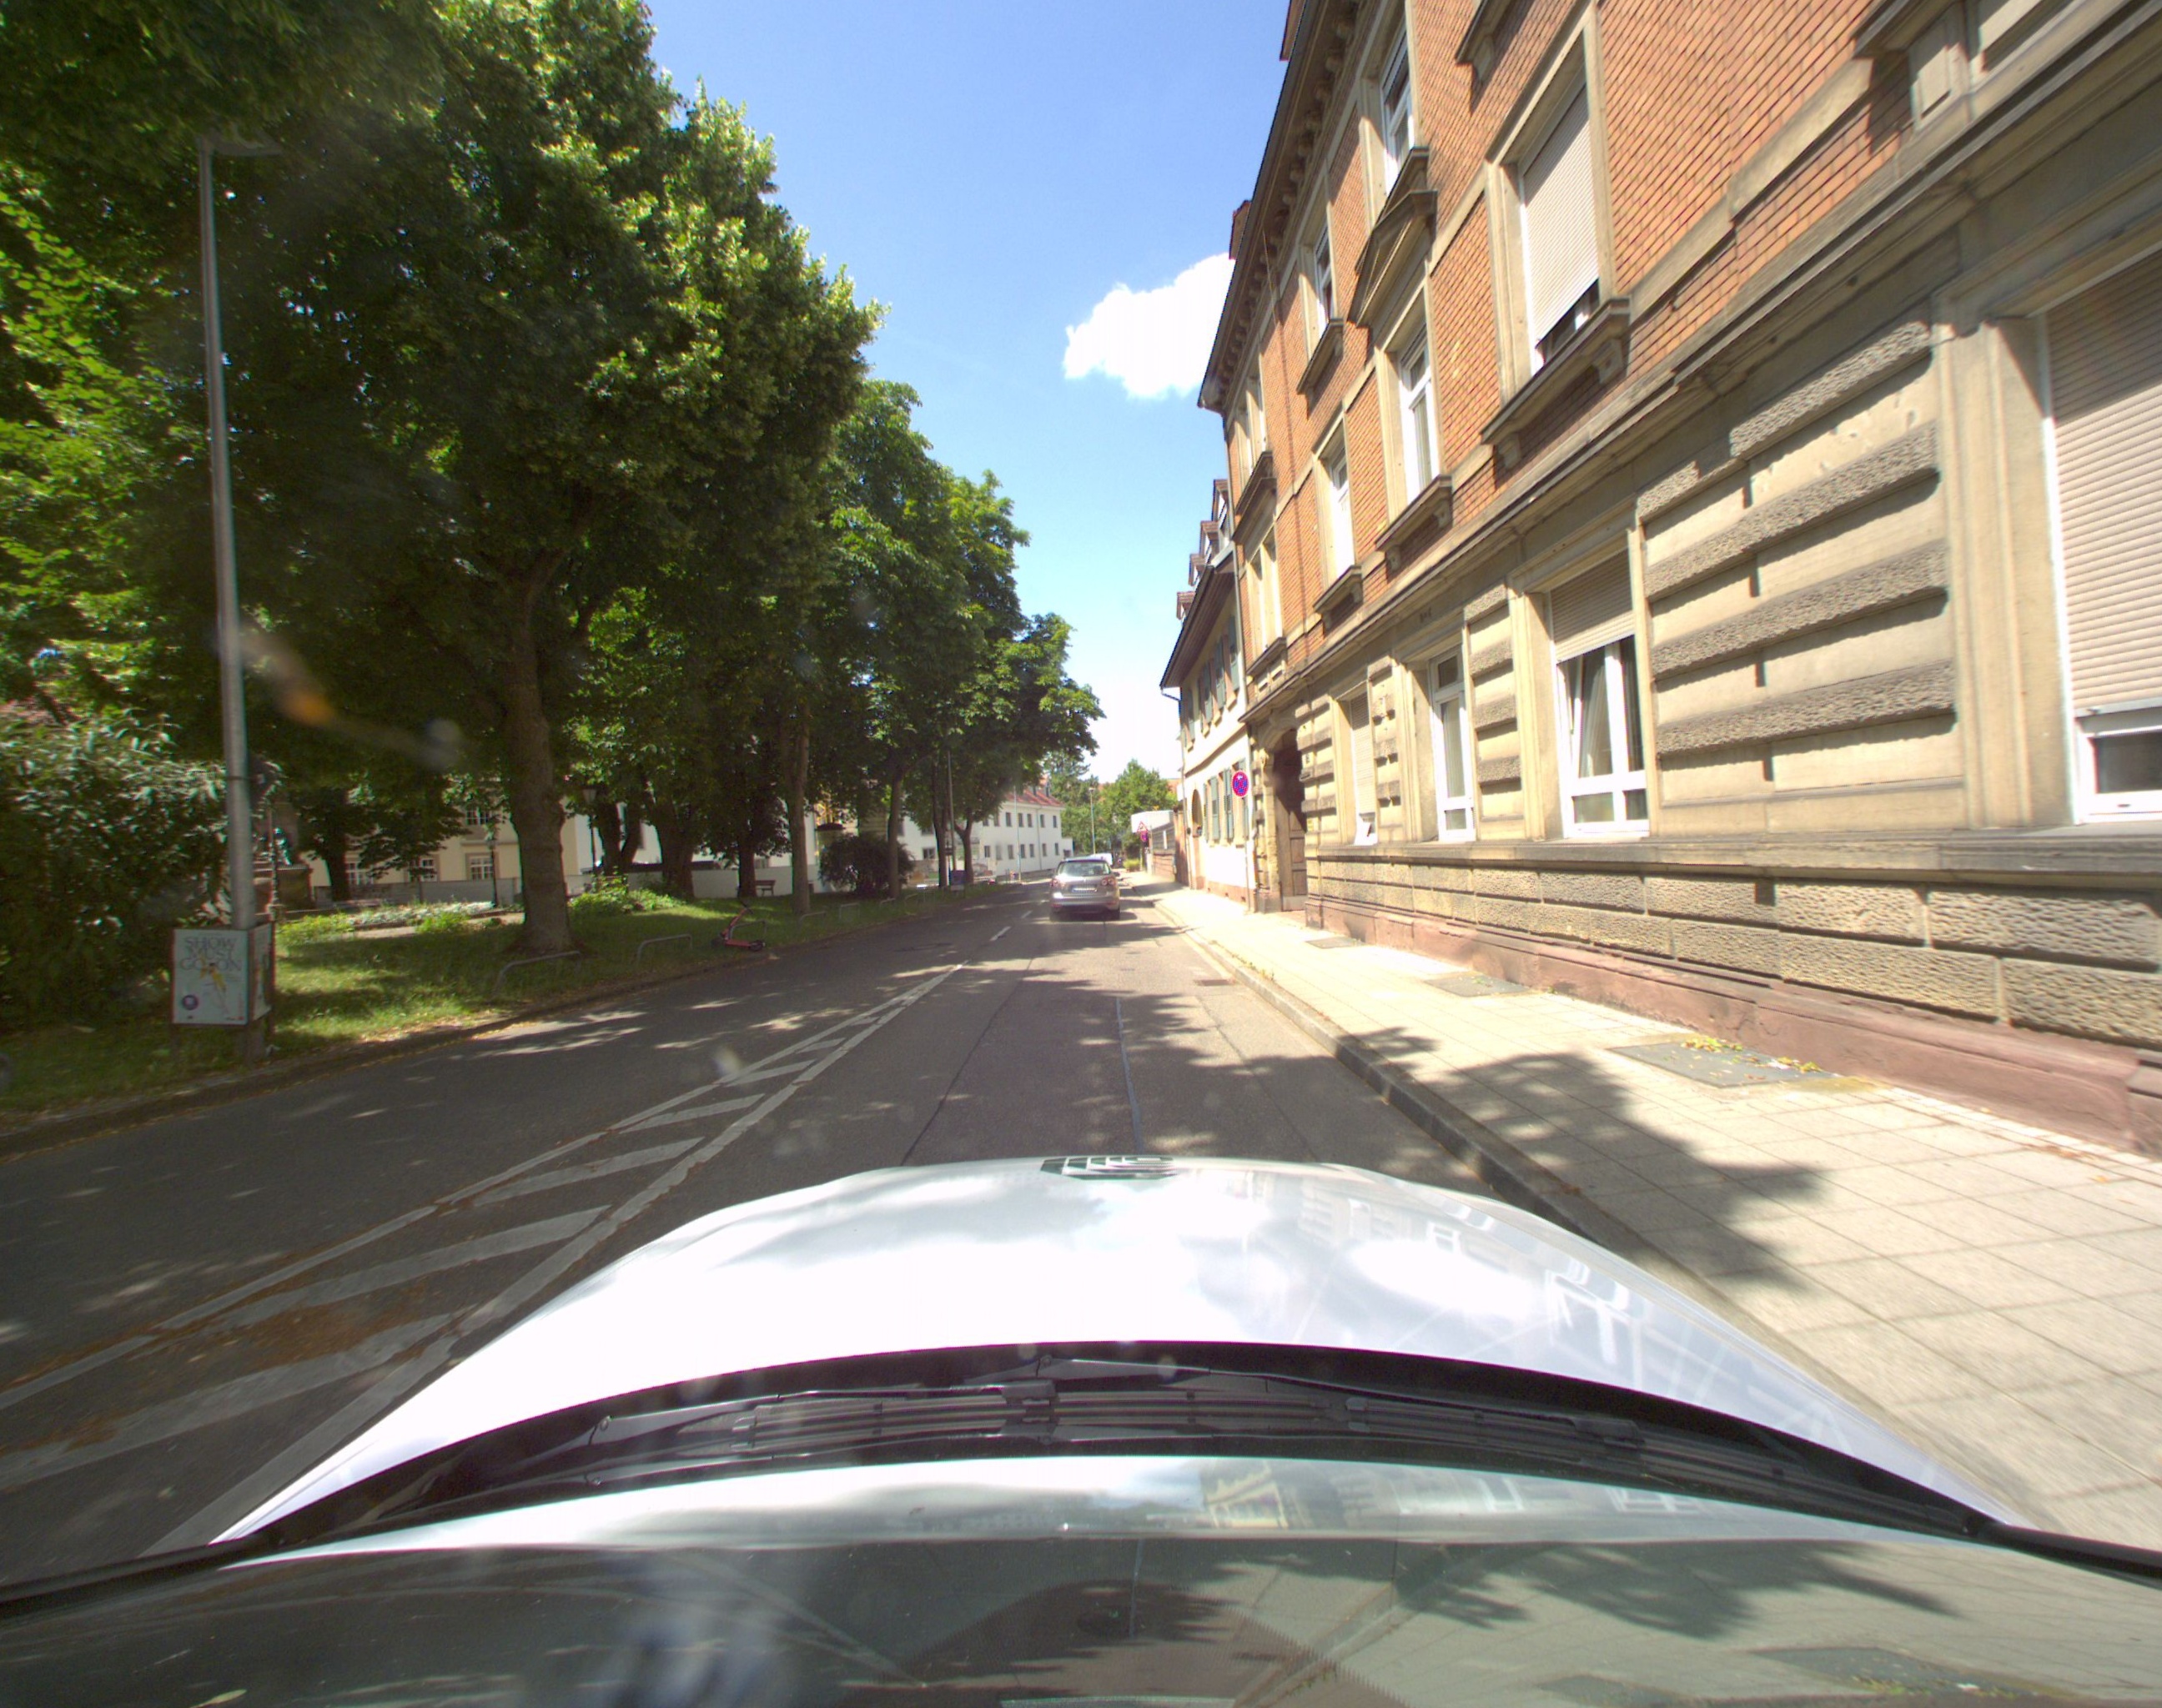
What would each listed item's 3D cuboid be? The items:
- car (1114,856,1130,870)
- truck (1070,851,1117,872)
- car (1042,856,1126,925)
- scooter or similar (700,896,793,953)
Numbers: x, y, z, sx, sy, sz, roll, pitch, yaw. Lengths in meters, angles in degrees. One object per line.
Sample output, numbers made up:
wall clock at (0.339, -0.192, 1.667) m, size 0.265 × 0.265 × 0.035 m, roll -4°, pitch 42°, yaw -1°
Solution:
car at (4.630, 1.015, 92.862) m, size 1.641 × 1.574 × 3.640 m, roll -3°, pitch 0°, yaw 1°
truck at (1.365, 0.795, 88.220) m, size 4.788 × 2.013 × 2.141 m, roll -4°, pitch 0°, yaw -7°
car at (0.185, 0.860, 21.149) m, size 1.895 × 1.534 × 4.247 m, roll -2°, pitch 0°, yaw 3°
scooter or similar at (-6.938, 1.442, 17.006) m, size 1.268 × 0.992 × 1.451 m, roll 4°, pitch -1°, yaw -2°
